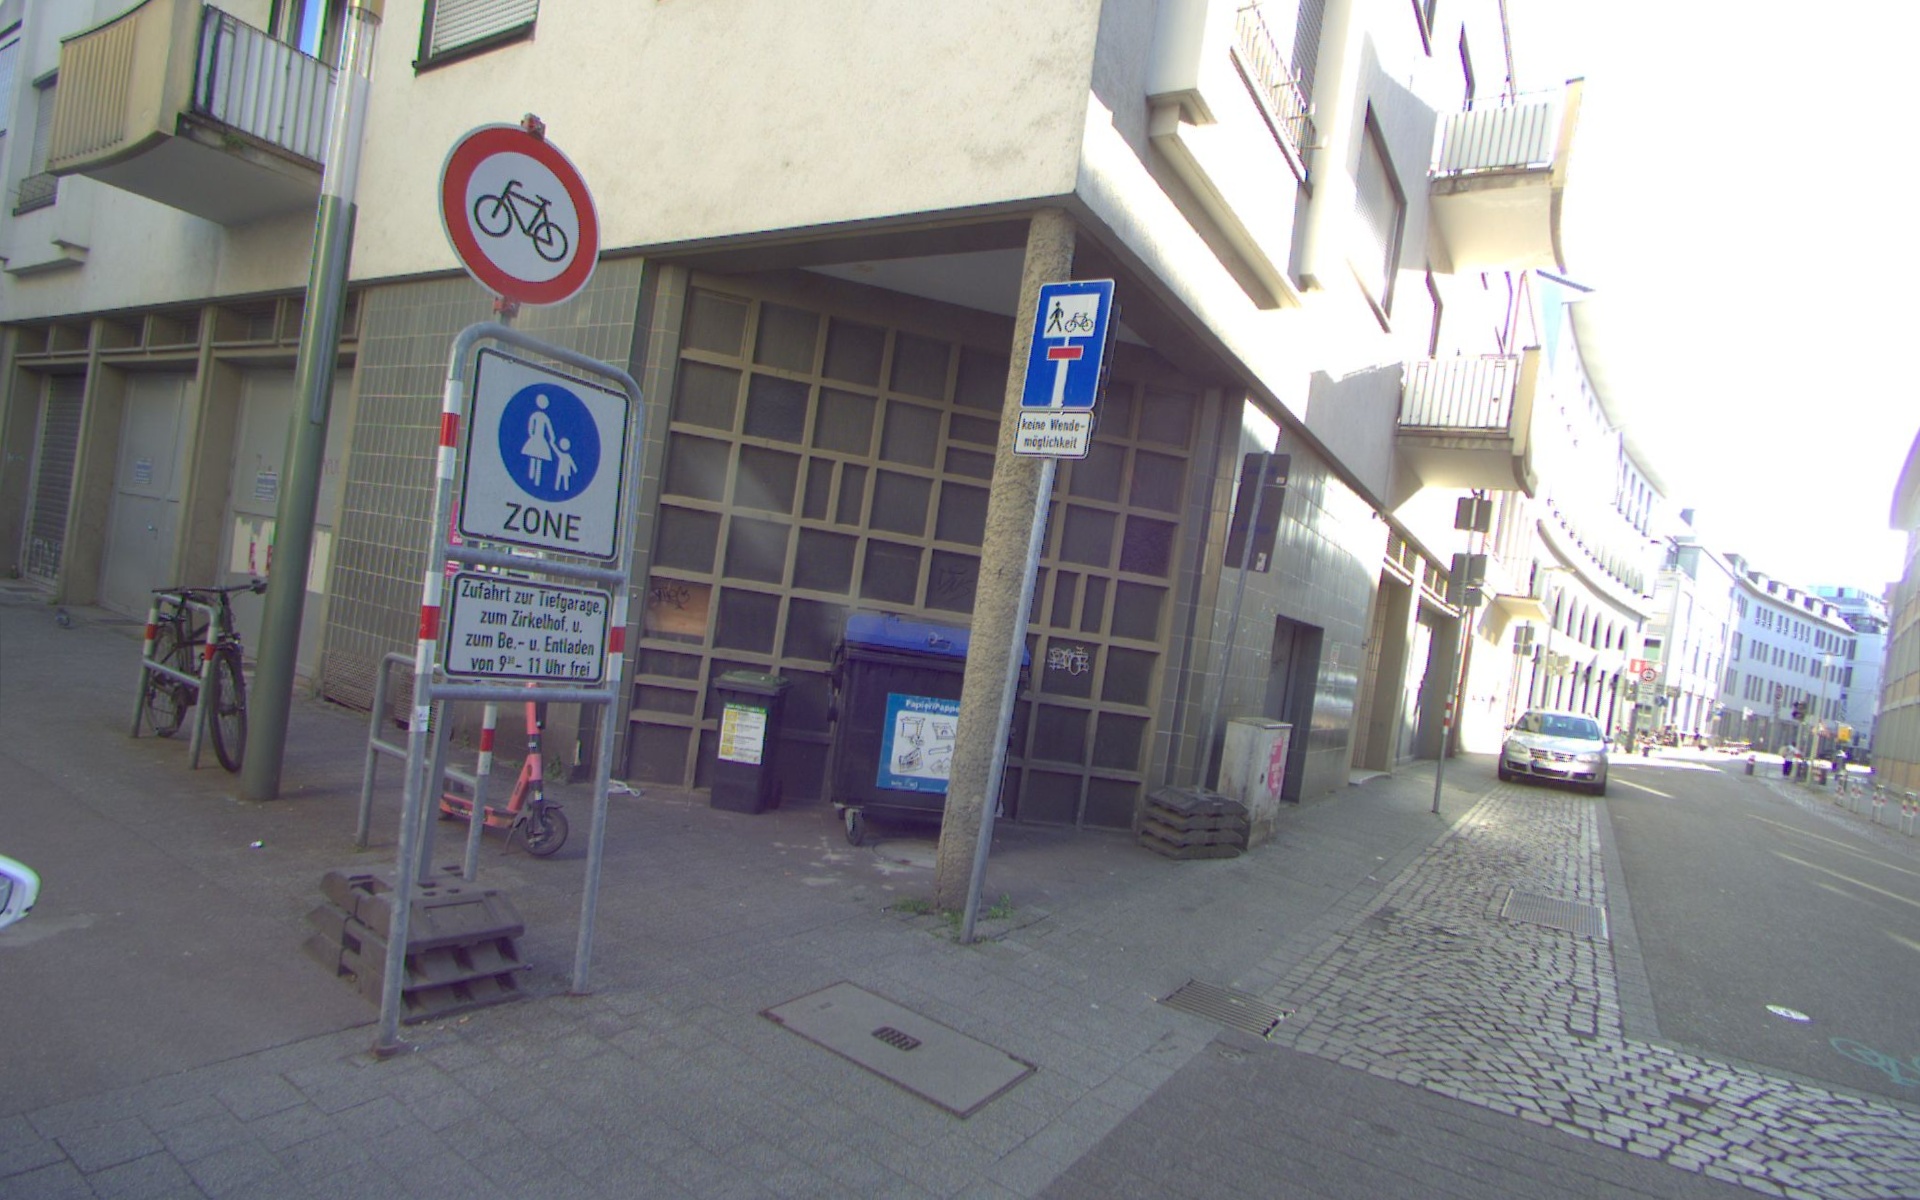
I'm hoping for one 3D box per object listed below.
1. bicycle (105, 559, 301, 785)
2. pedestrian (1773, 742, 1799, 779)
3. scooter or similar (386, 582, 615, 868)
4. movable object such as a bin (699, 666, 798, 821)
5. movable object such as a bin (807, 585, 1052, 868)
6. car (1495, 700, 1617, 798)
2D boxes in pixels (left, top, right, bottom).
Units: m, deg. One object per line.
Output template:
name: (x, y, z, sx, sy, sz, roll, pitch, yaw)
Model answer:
bicycle: (-4.687, 0.395, 6.185, 1.684, 1.153, 0.446, 6, -1, 38)
pedestrian: (35.531, 6.911, 43.261, 0.649, 1.458, 0.594, 8, 0, 35)
scooter or similar: (-2.442, 0.613, 5.299, 1.218, 1.268, 0.307, 7, 0, 30)
movable object such as a bin: (-1.455, 0.970, 6.897, 0.533, 0.935, 0.512, 7, 0, -14)
movable object such as a bin: (-0.261, 0.804, 6.828, 1.271, 1.609, 1.152, 8, 1, -12)
car: (11.680, 2.817, 19.632, 1.742, 1.487, 3.805, 6, -2, 33)
